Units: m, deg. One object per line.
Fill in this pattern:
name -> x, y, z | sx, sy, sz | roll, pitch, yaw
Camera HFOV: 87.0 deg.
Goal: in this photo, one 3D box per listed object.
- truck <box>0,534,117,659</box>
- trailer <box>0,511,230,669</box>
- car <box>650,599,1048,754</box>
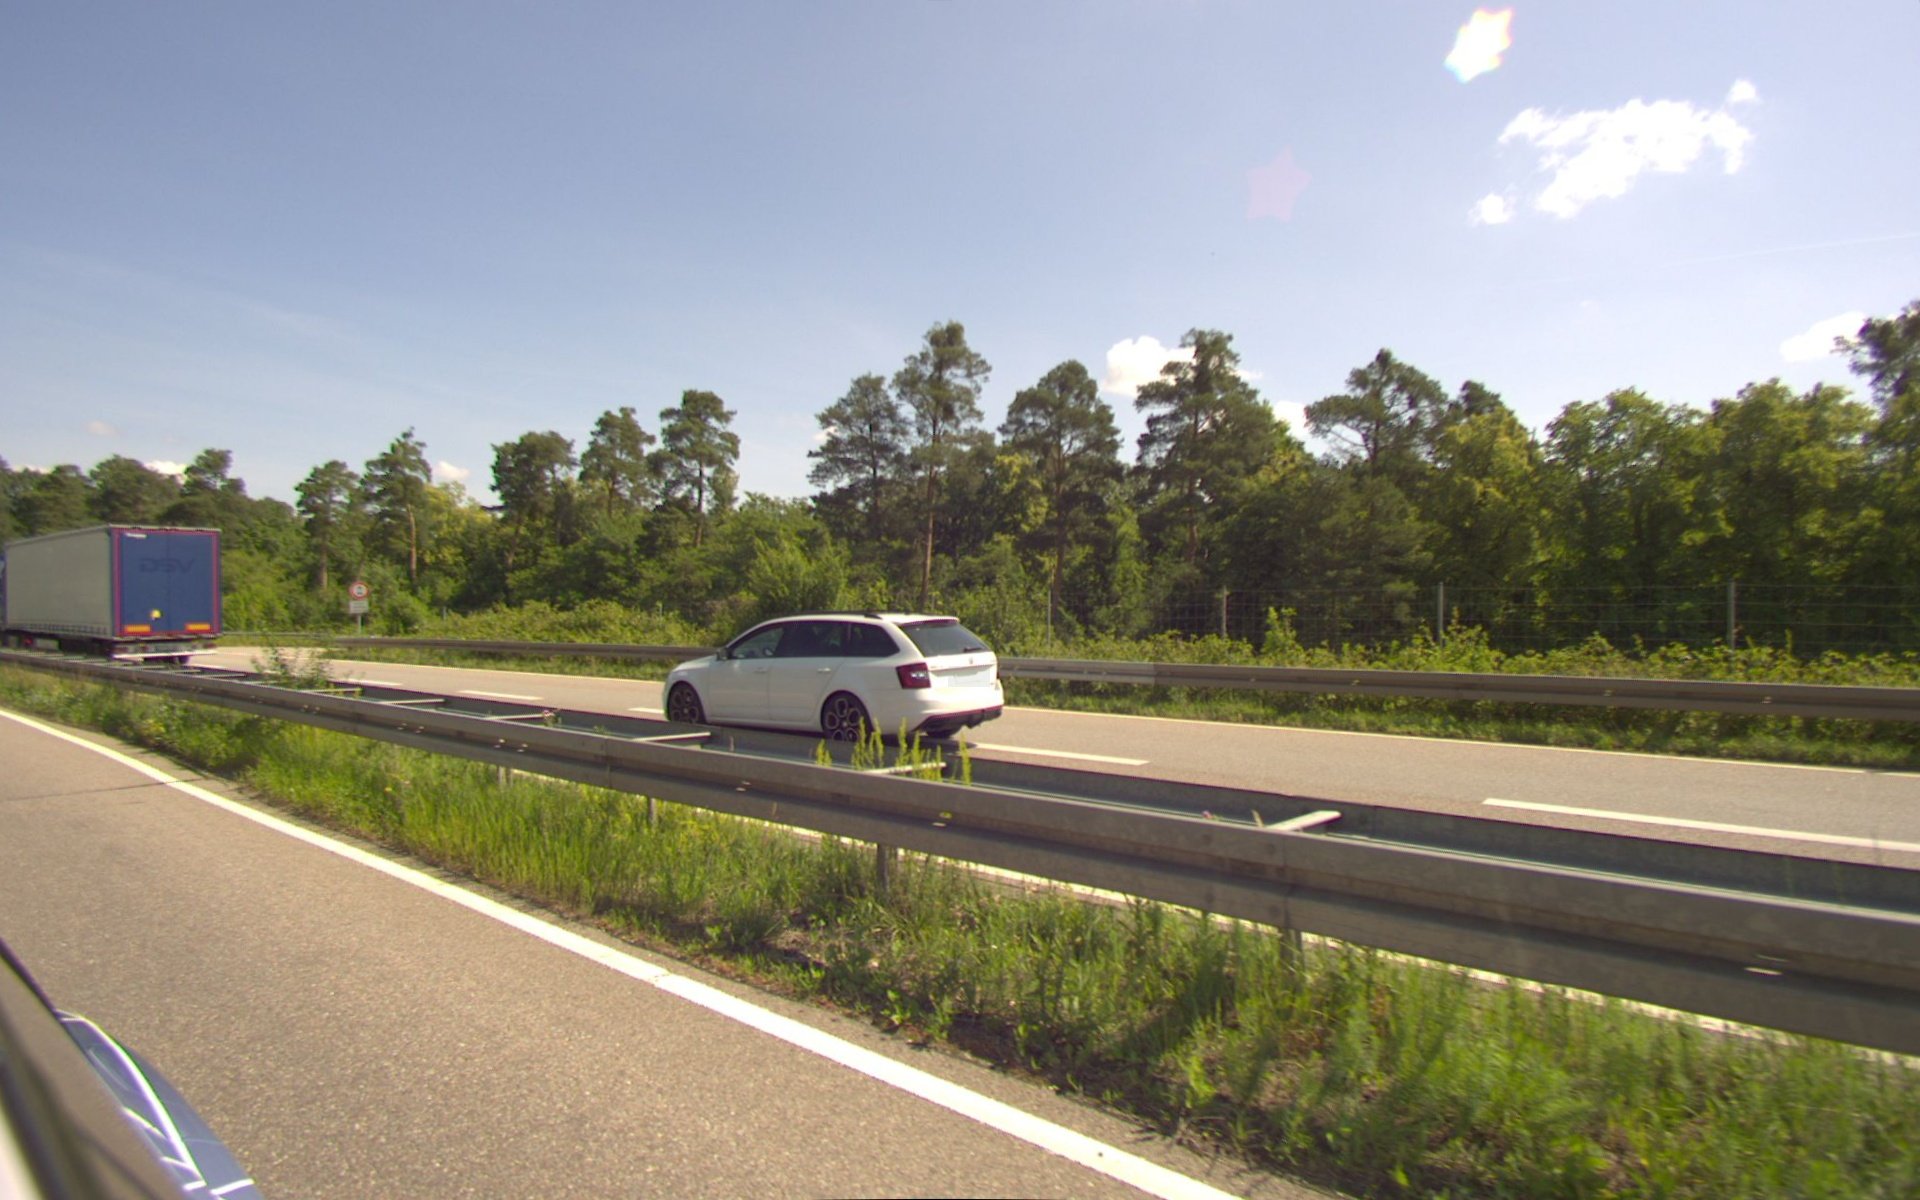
truck -> -33.211, -0.096, 36.836 | 5.589, 4.219, 2.741 | -1, -1, 38
trailer -> -27.512, -0.185, 32.418 | 14.561, 4.204, 2.720 | -1, -1, 38
car -> -1.408, 0.760, 11.624 | 4.598, 1.455, 1.777 | -1, -1, 37
